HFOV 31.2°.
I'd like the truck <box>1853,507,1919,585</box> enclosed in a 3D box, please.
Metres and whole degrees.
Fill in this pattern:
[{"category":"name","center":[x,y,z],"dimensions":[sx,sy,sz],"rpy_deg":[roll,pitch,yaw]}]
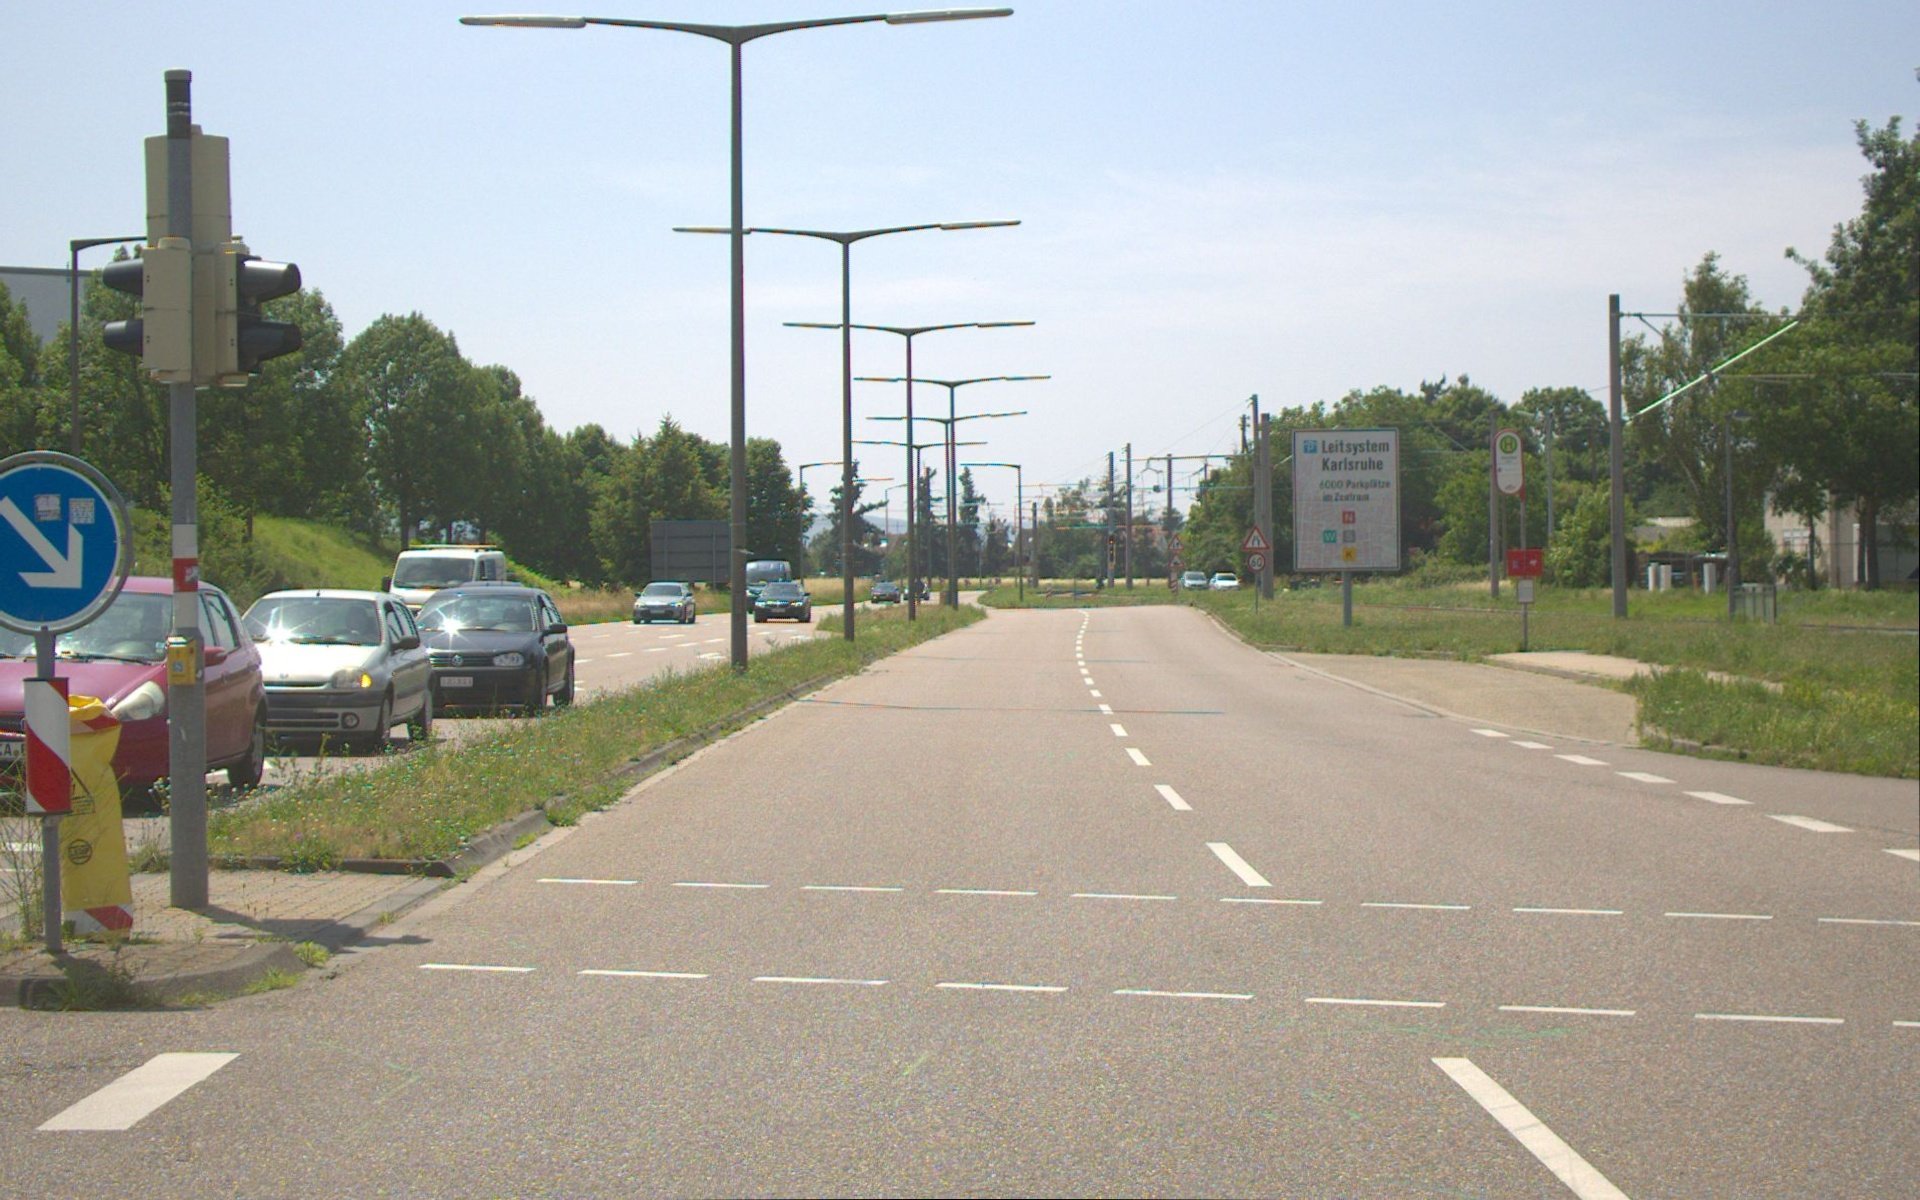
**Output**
[{"category":"truck","center":[36.944,-2.101,129.541],"dimensions":[5.839,2.834,2.320],"rpy_deg":[-2,0,-6]}]

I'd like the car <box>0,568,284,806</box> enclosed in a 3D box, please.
[{"category":"car","center":[-5.821,0.529,23.483],"dimensions":[1.658,1.485,4.000],"rpy_deg":[0,0,-1]}]

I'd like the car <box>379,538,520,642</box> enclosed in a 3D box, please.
[{"category":"car","center":[-11.654,-0.224,78.819],"dimensions":[2.249,2.265,5.448],"rpy_deg":[1,0,2]}]

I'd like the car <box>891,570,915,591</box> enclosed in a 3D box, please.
[{"category":"car","center":[-4.186,-1.431,253.308],"dimensions":[1.692,1.486,4.000],"rpy_deg":[-1,0,1]}]

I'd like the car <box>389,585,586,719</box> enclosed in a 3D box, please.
[{"category":"car","center":[-5.343,0.554,39.318],"dimensions":[1.676,1.429,4.191],"rpy_deg":[0,0,0]}]

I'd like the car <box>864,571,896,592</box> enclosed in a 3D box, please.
[{"category":"car","center":[-5.579,-1.288,240.563],"dimensions":[1.993,1.355,4.665],"rpy_deg":[-2,0,2]}]

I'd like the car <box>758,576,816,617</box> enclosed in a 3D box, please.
[{"category":"car","center":[-6.302,-0.136,125.537],"dimensions":[1.731,1.453,4.564],"rpy_deg":[0,0,2]}]

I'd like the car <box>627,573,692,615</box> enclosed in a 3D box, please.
[{"category":"car","center":[-10.611,-0.237,121.632],"dimensions":[1.831,1.444,4.851],"rpy_deg":[0,0,0]}]

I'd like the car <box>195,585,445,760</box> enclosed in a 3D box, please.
[{"category":"car","center":[-5.668,0.601,30.805],"dimensions":[1.560,1.418,3.854],"rpy_deg":[0,1,-1]}]
